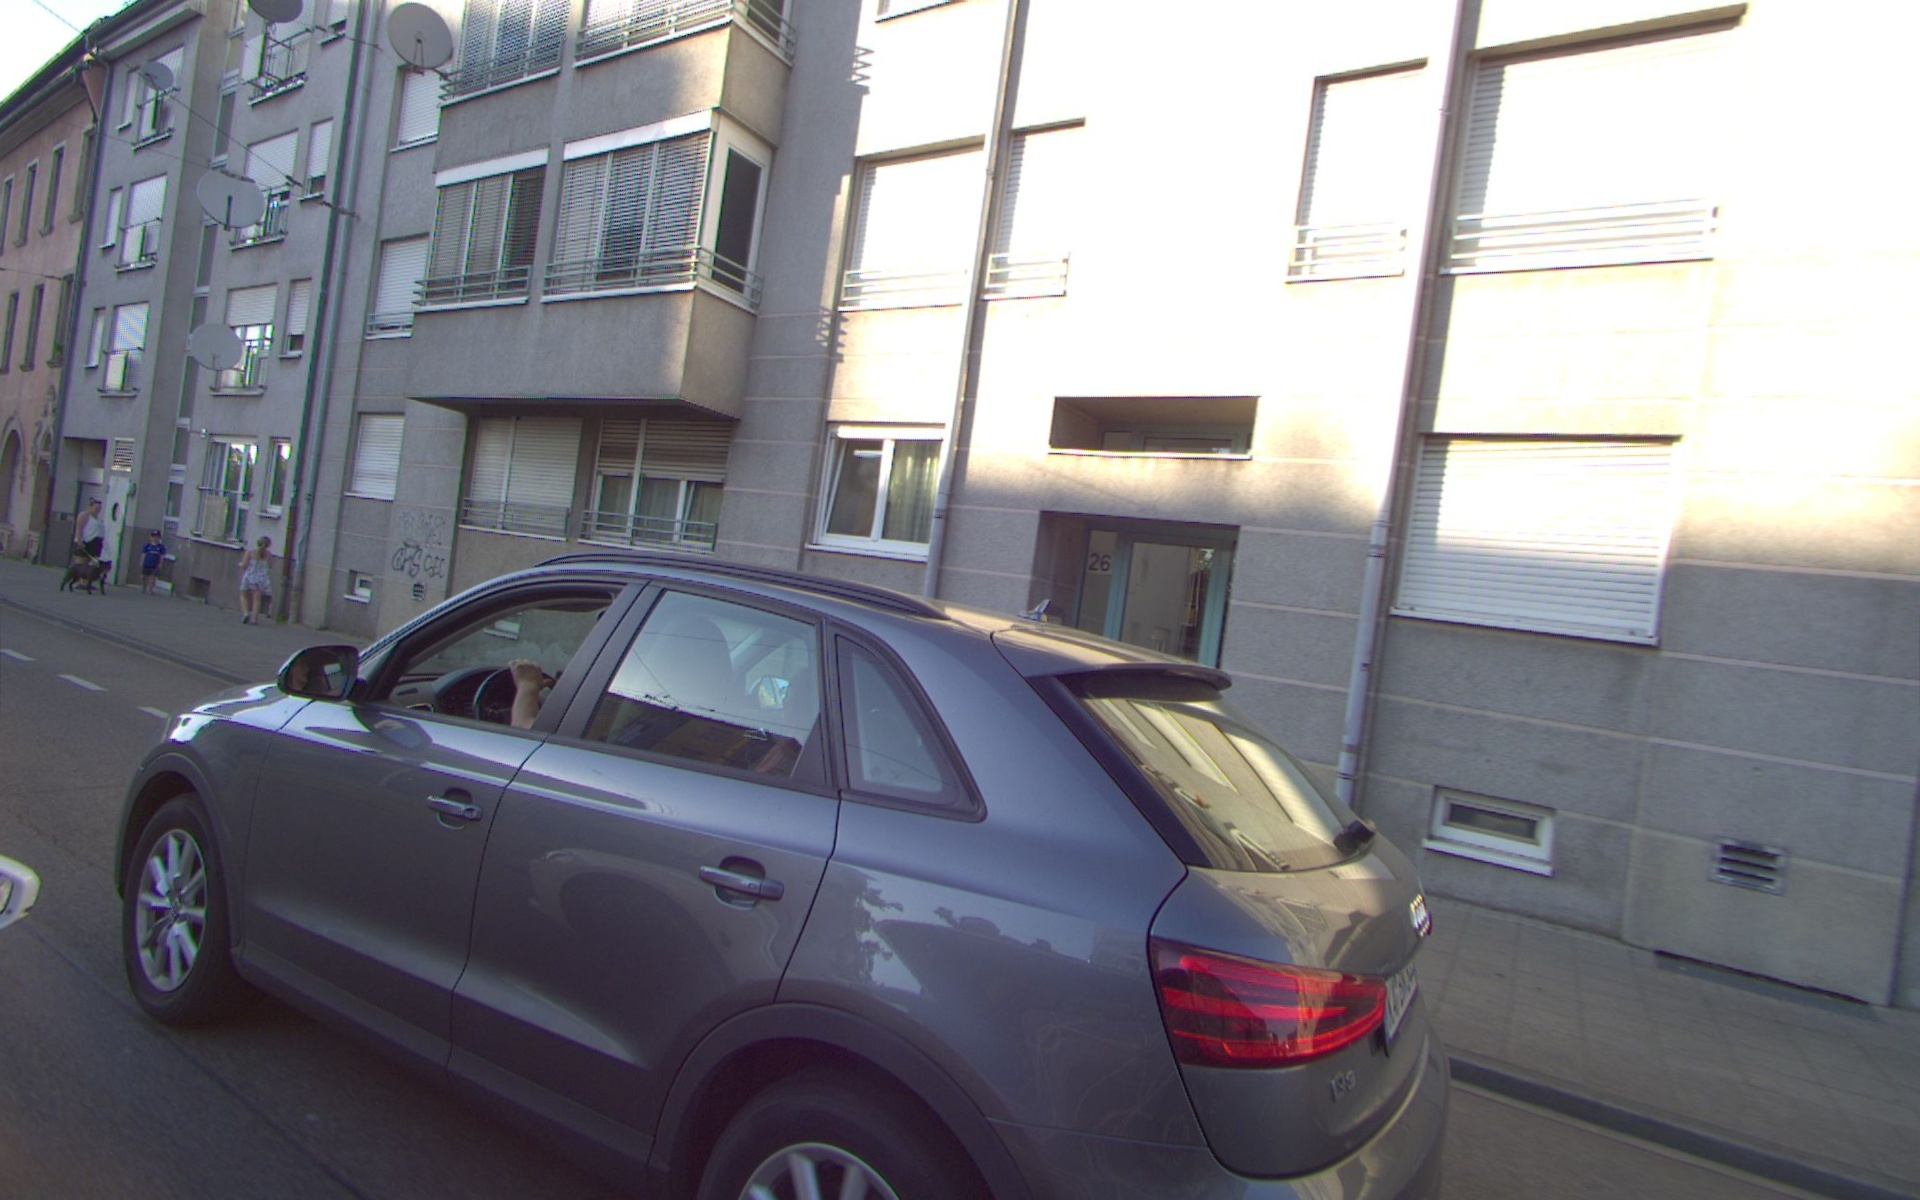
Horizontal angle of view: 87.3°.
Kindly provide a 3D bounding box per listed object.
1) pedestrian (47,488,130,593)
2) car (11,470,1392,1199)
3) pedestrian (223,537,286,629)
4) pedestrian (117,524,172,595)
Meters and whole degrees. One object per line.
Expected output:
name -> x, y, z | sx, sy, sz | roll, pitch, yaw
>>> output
pedestrian -> -16.377, -1.113, 18.901 | 0.980, 1.793, 0.830 | 8, 1, 35
car -> -0.987, 0.662, 3.186 | 3.999, 1.606, 1.770 | 8, 0, 30
pedestrian -> -11.094, -0.265, 15.816 | 0.599, 1.361, 0.514 | 6, 0, 31
pedestrian -> -15.762, -0.784, 19.440 | 0.575, 1.266, 0.587 | 8, 1, 35
